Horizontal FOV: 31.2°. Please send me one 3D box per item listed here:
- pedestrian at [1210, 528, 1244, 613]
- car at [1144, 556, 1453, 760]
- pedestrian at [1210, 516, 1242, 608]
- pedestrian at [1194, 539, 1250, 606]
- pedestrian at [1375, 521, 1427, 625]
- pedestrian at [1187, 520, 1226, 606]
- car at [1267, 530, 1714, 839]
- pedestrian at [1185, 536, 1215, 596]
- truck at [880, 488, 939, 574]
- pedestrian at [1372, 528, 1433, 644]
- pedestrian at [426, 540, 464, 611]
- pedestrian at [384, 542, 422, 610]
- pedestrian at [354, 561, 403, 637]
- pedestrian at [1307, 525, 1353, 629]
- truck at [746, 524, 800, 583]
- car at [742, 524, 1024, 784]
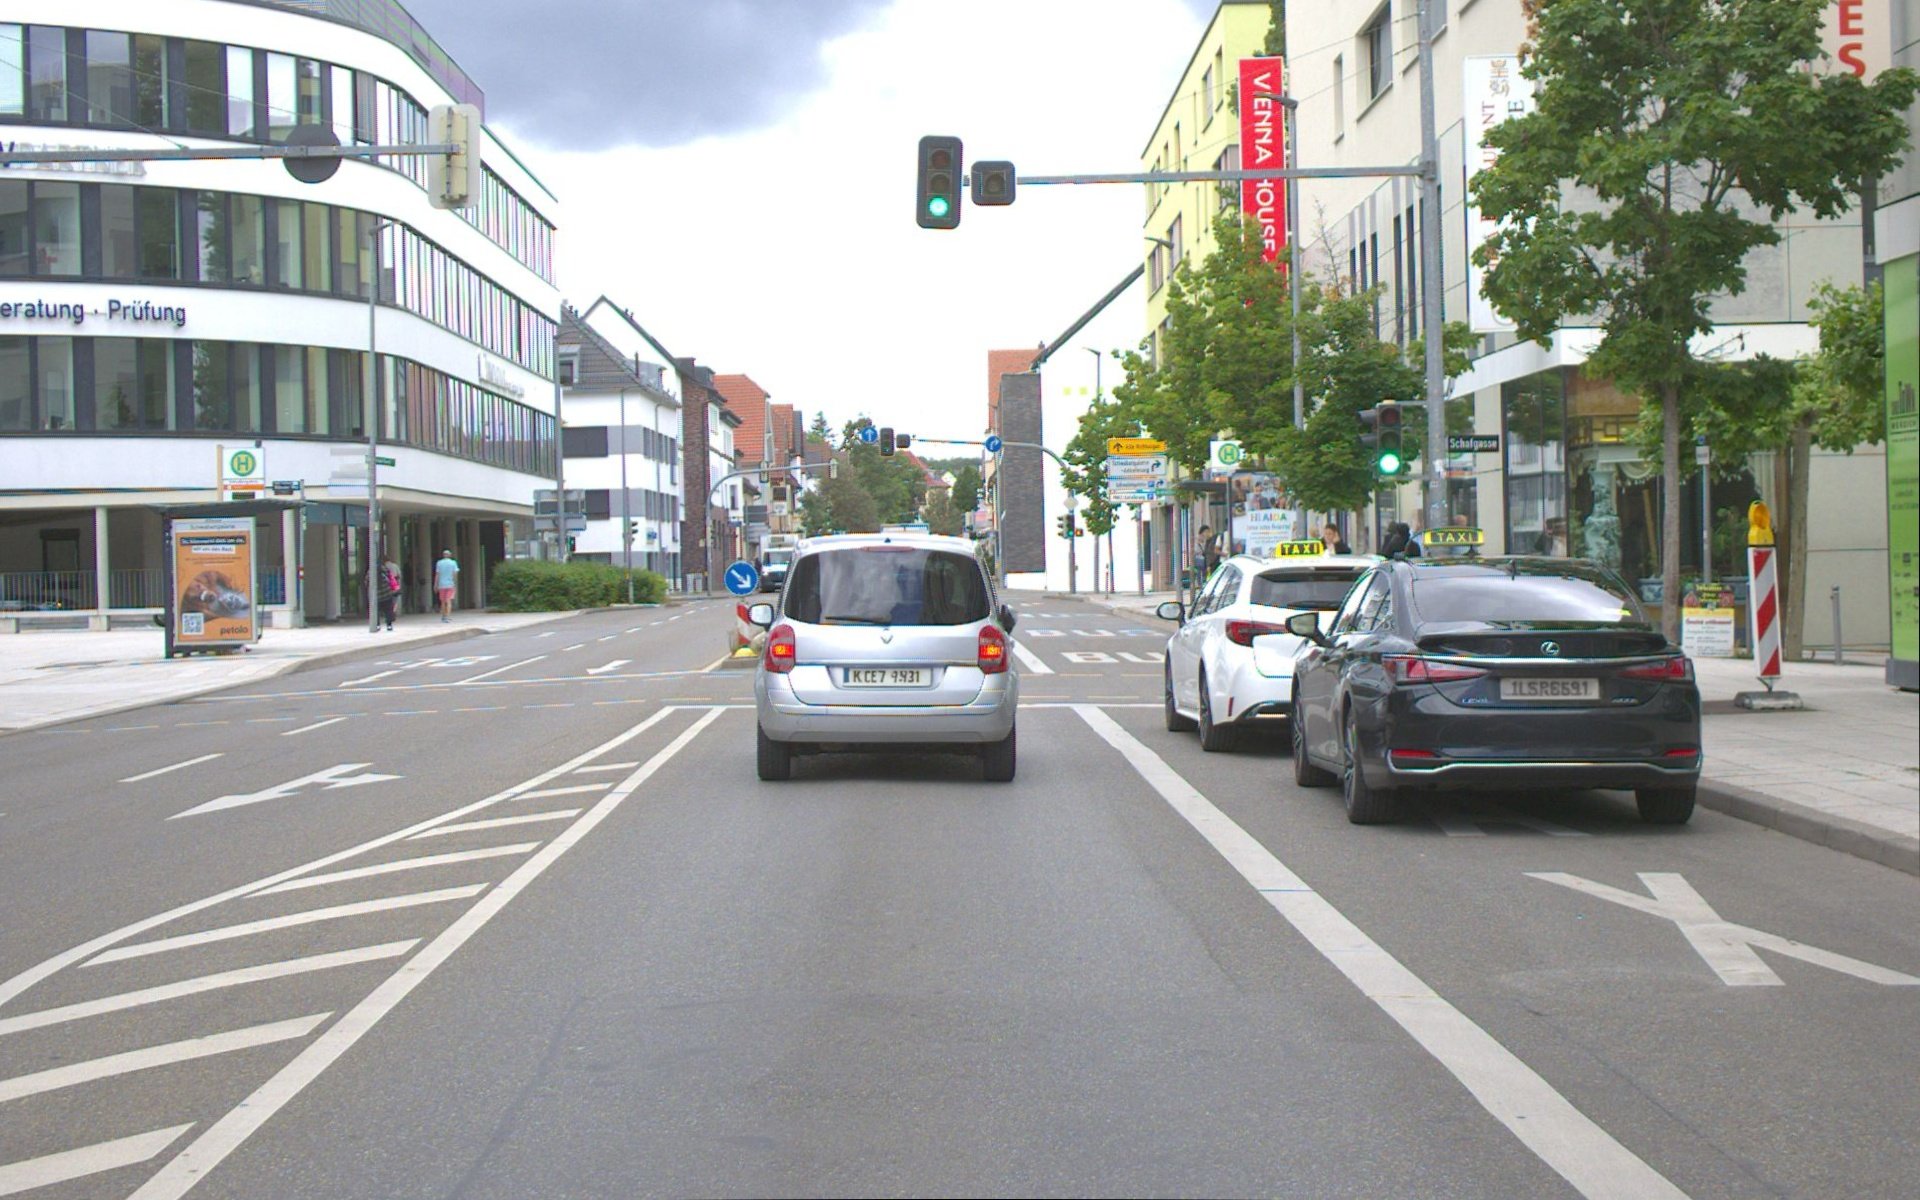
[{"bbox_3d":[5.056,-0.553,65.027,0.579,1.585,0.732,-2,0,5],"label":"pedestrian"},{"bbox_3d":[2.477,0.383,26.203,1.782,1.420,4.515,0,1,-2],"label":"car"},{"bbox_3d":[5.219,-0.745,67.440,0.579,1.763,0.856,-2,0,5],"label":"pedestrian"},{"bbox_3d":[5.053,-0.531,66.335,0.942,1.255,0.733,-2,0,-3],"label":"pedestrian"},{"bbox_3d":[7.180,-0.442,55.952,0.744,1.663,0.614,-1,1,0],"label":"pedestrian"},{"bbox_3d":[4.934,-0.742,68.714,0.721,1.678,0.732,-2,0,5],"label":"pedestrian"},{"bbox_3d":[2.900,0.402,19.798,1.736,1.536,4.790,1,1,-1],"label":"car"},{"bbox_3d":[6.499,-0.917,93.130,0.695,1.588,0.603,-2,0,-1],"label":"pedestrian"},{"bbox_3d":[-2.255,-3.119,156.565,2.595,3.844,6.849,0,1,0],"label":"truck"},{"bbox_3d":[6.160,-0.199,47.901,0.740,1.603,0.715,-1,1,0],"label":"pedestrian"},{"bbox_3d":[-12.270,-0.578,81.890,0.730,1.668,0.931,1,0,1],"label":"pedestrian"},{"bbox_3d":[-13.460,-0.584,83.049,0.730,1.608,0.931,1,0,1],"label":"pedestrian"},{"bbox_3d":[-12.128,-0.031,71.711,0.830,1.562,0.813,1,0,5],"label":"pedestrian"},{"bbox_3d":[5.996,-0.376,55.664,0.655,1.663,0.614,-1,1,0],"label":"pedestrian"},{"bbox_3d":[-9.668,-2.391,178.467,2.435,2.943,8.365,-1,1,-1],"label":"truck"},{"bbox_3d":[-0.504,0.313,23.175,1.706,1.573,4.000,1,1,-1],"label":"car"}]
